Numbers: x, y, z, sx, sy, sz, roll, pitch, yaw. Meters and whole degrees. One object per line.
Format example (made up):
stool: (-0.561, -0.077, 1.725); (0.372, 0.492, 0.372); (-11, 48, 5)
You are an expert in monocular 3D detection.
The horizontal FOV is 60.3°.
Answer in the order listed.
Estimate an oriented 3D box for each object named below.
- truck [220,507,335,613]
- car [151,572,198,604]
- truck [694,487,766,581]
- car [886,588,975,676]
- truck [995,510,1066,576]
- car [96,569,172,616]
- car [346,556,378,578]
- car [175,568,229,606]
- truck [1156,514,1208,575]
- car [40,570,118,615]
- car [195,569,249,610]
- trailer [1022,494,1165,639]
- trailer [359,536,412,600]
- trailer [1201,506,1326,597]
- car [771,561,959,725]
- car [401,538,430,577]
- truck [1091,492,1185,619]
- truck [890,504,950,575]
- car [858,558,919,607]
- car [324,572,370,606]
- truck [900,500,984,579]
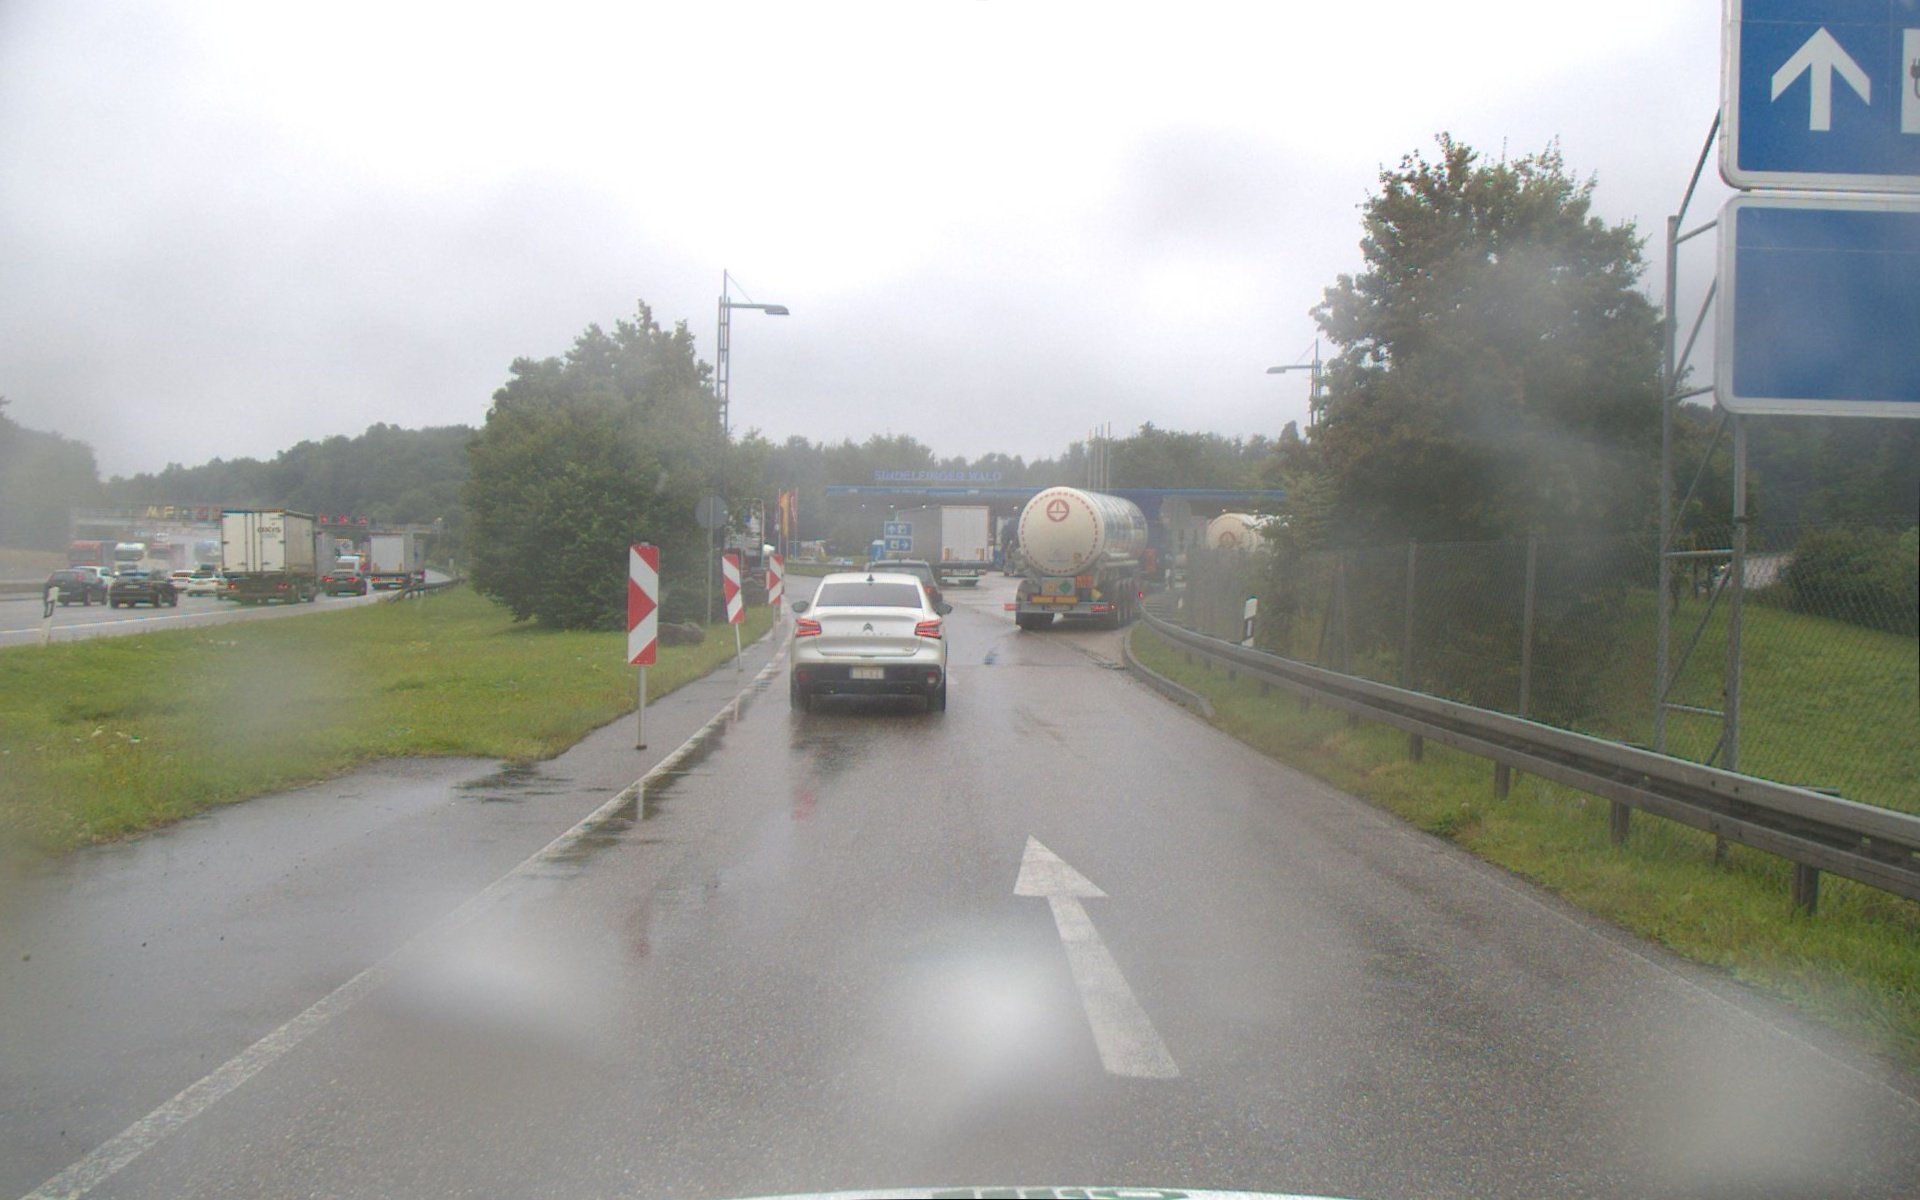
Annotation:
truck: (-30.610, -1.685, 74.699); (2.800, 4.367, 11.803); (-1, 0, -13)
car: (-51.447, -0.799, 108.436); (1.959, 2.049, 3.987); (0, 0, -13)
truck: (-10.235, -2.894, 73.146); (2.863, 3.972, 6.301); (0, 2, -11)
car: (-0.607, 0.658, 35.408); (1.707, 1.696, 3.999); (3, 0, 0)
truck: (4.710, -3.904, 112.506); (3.174, 4.261, 8.428); (1, 2, -9)
car: (-32.104, -0.284, 64.398); (1.744, 1.766, 3.835); (0, 0, -12)
car: (-52.798, -2.894, 146.031); (1.958, 1.847, 3.990); (2, 0, -11)
car: (-44.206, -0.751, 96.500); (1.959, 2.049, 3.987); (3, 0, -13)
truck: (14.226, -3.581, 106.113); (2.379, 3.871, 3.996); (0, 2, -7)
car: (-36.541, -0.337, 68.701); (1.744, 1.766, 4.088); (-1, 1, -12)
car: (-37.817, -0.530, 84.827); (1.758, 2.006, 4.319); (1, 0, -14)
trailer: (3.663, -0.890, 42.877); (1.938, 3.280, 10.330); (1, 2, 14)
trailer: (-44.431, -2.392, 128.309); (3.493, 4.693, 12.060); (0, 0, -17)
trailer: (12.763, -2.010, 68.693); (2.090, 3.500, 10.239); (1, 2, 28)
car: (-1.050, 0.442, 19.289); (1.953, 1.708, 3.999); (0, 0, -2)
car: (-51.994, -4.043, 157.983); (2.335, 3.546, 4.792); (4, -1, -17)
truck: (5.390, -1.341, 49.594); (2.009, 3.592, 4.750); (1, 2, 15)
truck: (-2.352, -3.472, 94.807); (2.328, 3.941, 6.994); (0, 2, -11)
car: (-2.391, -0.606, 54.610); (1.842, 1.487, 3.997); (2, 1, -4)
car: (-35.577, -0.655, 96.080); (1.959, 1.847, 3.987); (2, 0, -13)
truck: (-1.118, -3.224, 88.461); (2.328, 3.941, 12.423); (0, 2, -11)
